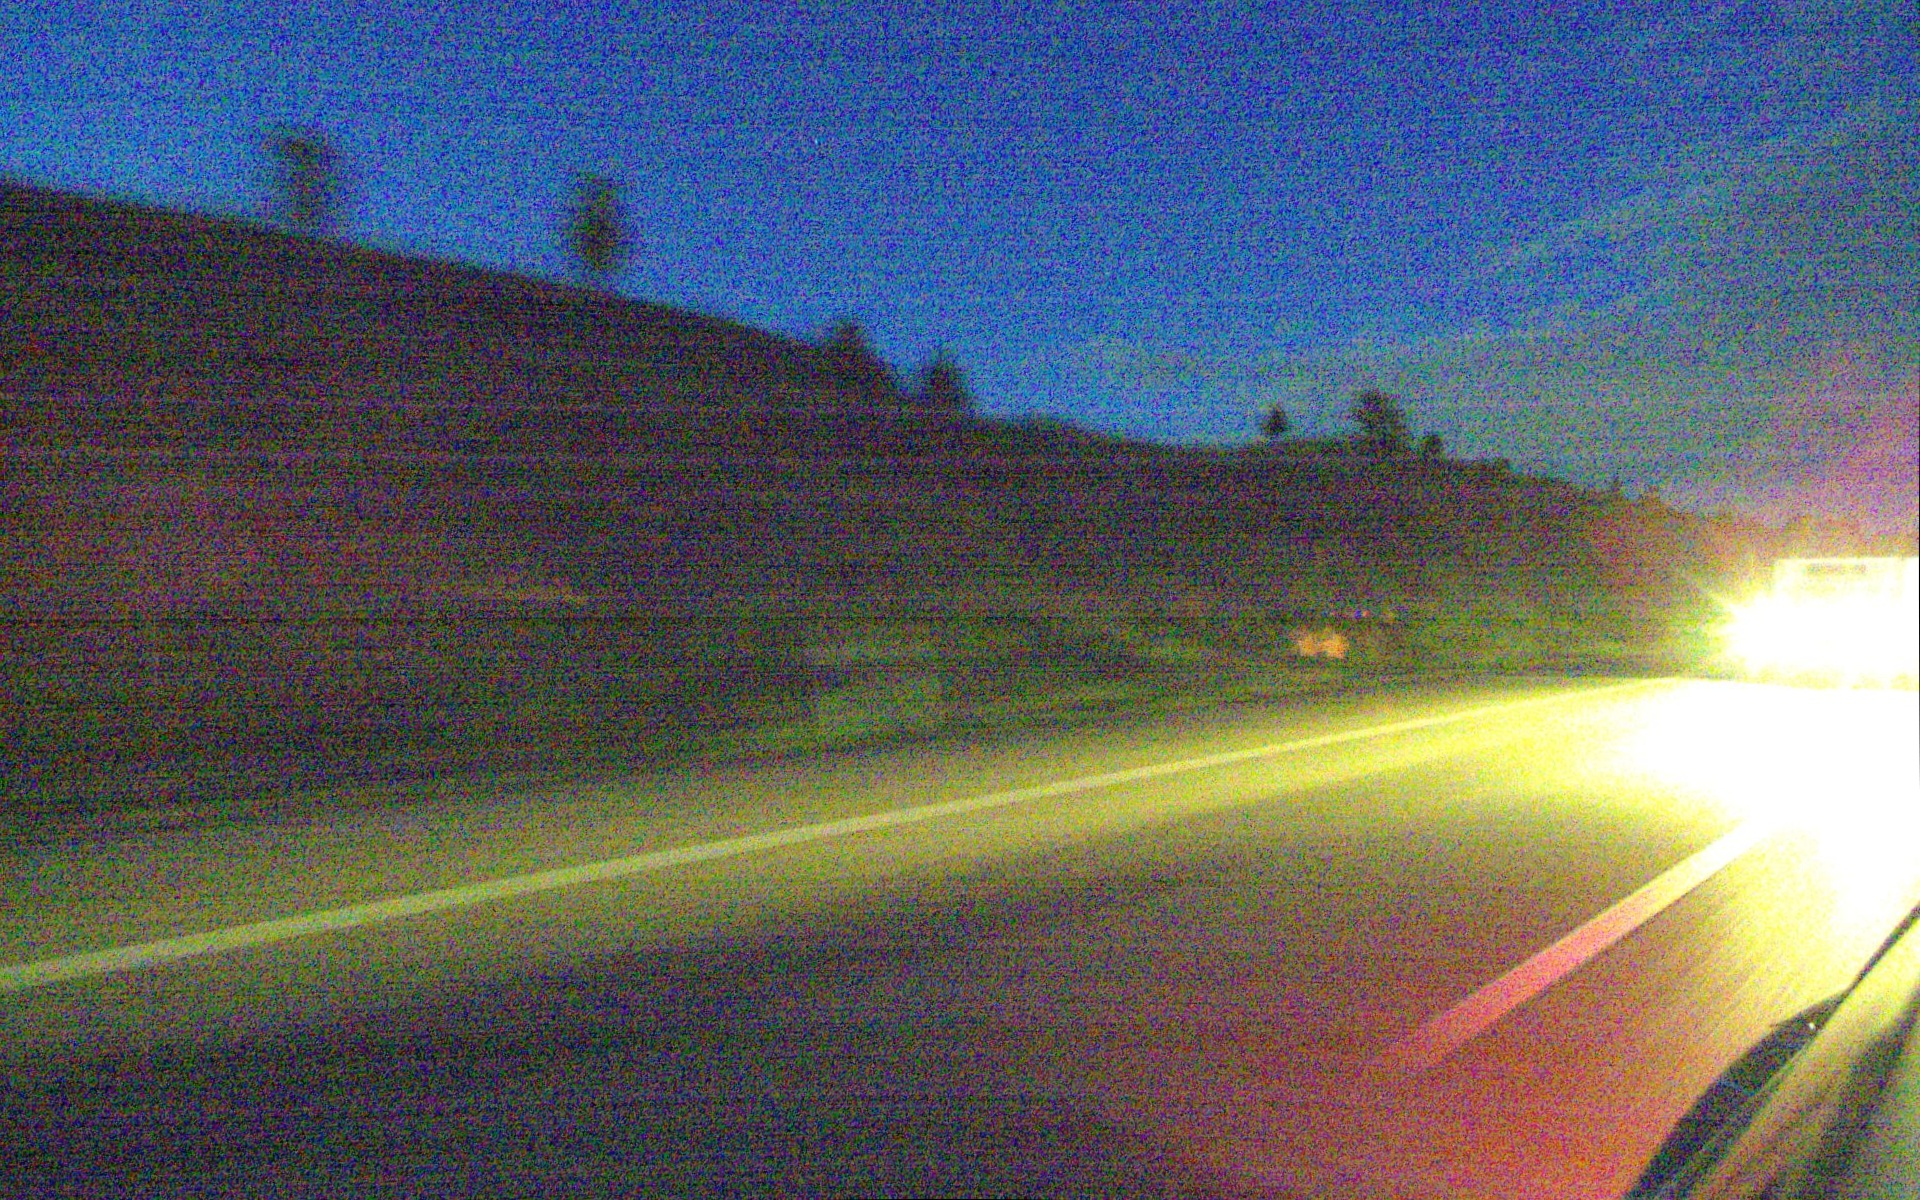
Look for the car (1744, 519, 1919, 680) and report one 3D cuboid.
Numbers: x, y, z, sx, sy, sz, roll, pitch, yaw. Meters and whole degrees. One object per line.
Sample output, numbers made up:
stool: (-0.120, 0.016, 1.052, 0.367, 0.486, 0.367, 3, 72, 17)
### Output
car: (17.029, -0.024, 19.370, 5.622, 2.680, 2.036, 0, 0, -40)
